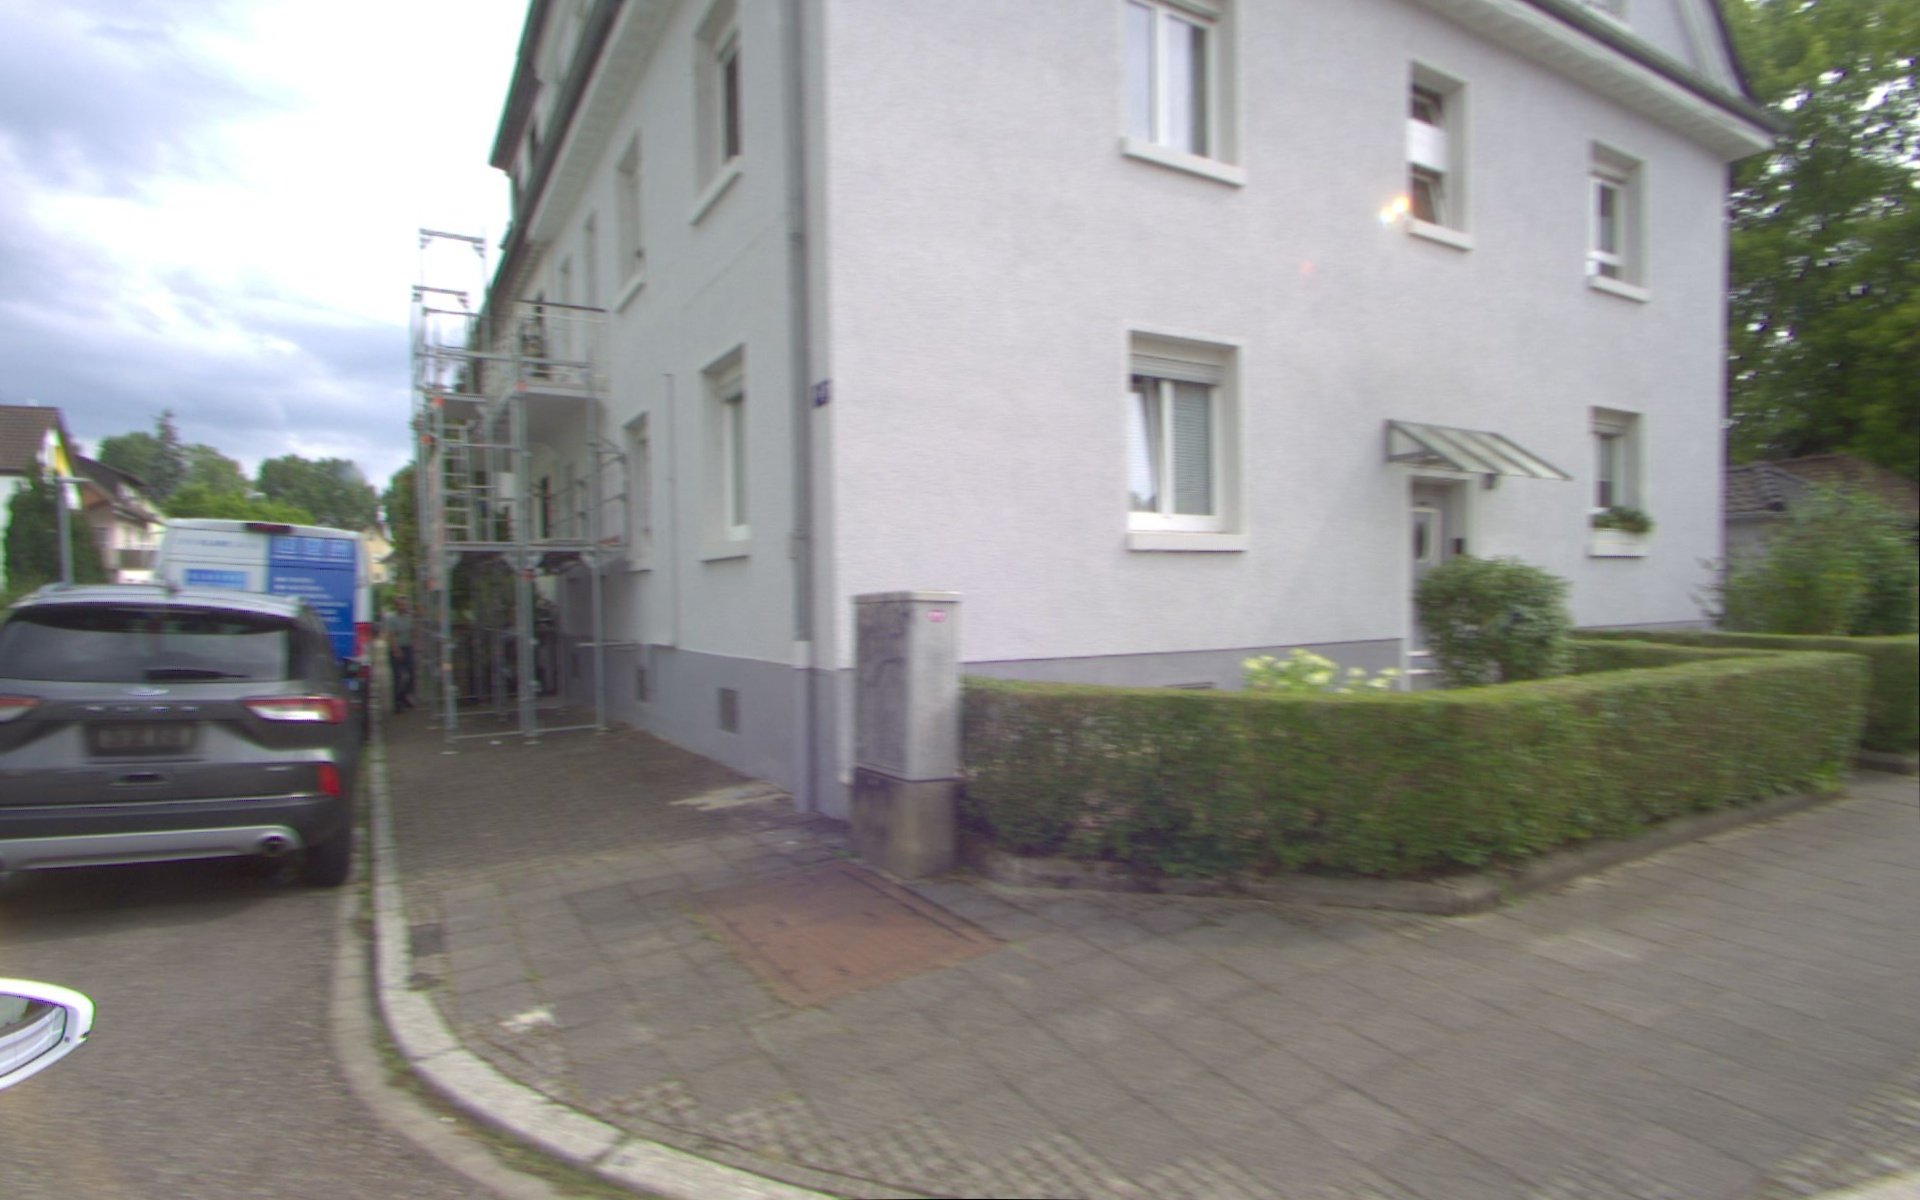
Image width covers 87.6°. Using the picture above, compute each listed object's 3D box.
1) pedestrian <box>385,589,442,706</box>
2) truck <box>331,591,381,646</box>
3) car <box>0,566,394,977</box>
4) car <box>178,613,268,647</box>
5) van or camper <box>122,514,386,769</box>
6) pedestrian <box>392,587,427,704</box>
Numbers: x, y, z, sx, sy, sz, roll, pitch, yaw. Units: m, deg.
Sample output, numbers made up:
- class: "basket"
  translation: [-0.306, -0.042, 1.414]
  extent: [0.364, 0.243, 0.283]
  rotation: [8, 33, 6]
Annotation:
- class: "pedestrian"
  translation: [-8.007, 0.682, 14.658]
  extent: [0.617, 1.650, 0.599]
  rotation: [-2, 0, -36]
- class: "truck"
  translation: [-31.762, 0.932, 52.604]
  extent: [2.107, 2.693, 4.556]
  rotation: [-2, 1, -32]
- class: "car"
  translation: [-4.873, 0.729, 6.324]
  extent: [1.973, 1.750, 4.314]
  rotation: [-1, 1, -33]
- class: "car"
  translation: [-41.567, 1.686, 56.602]
  extent: [3.947, 1.795, 1.858]
  rotation: [-1, -1, -34]
- class: "van or camper"
  translation: [-8.497, 0.399, 12.493]
  extent: [2.168, 2.492, 5.025]
  rotation: [-1, 1, -31]
- class: "pedestrian"
  translation: [-8.620, 0.705, 15.665]
  extent: [0.403, 1.785, 0.510]
  rotation: [-2, 0, -33]
